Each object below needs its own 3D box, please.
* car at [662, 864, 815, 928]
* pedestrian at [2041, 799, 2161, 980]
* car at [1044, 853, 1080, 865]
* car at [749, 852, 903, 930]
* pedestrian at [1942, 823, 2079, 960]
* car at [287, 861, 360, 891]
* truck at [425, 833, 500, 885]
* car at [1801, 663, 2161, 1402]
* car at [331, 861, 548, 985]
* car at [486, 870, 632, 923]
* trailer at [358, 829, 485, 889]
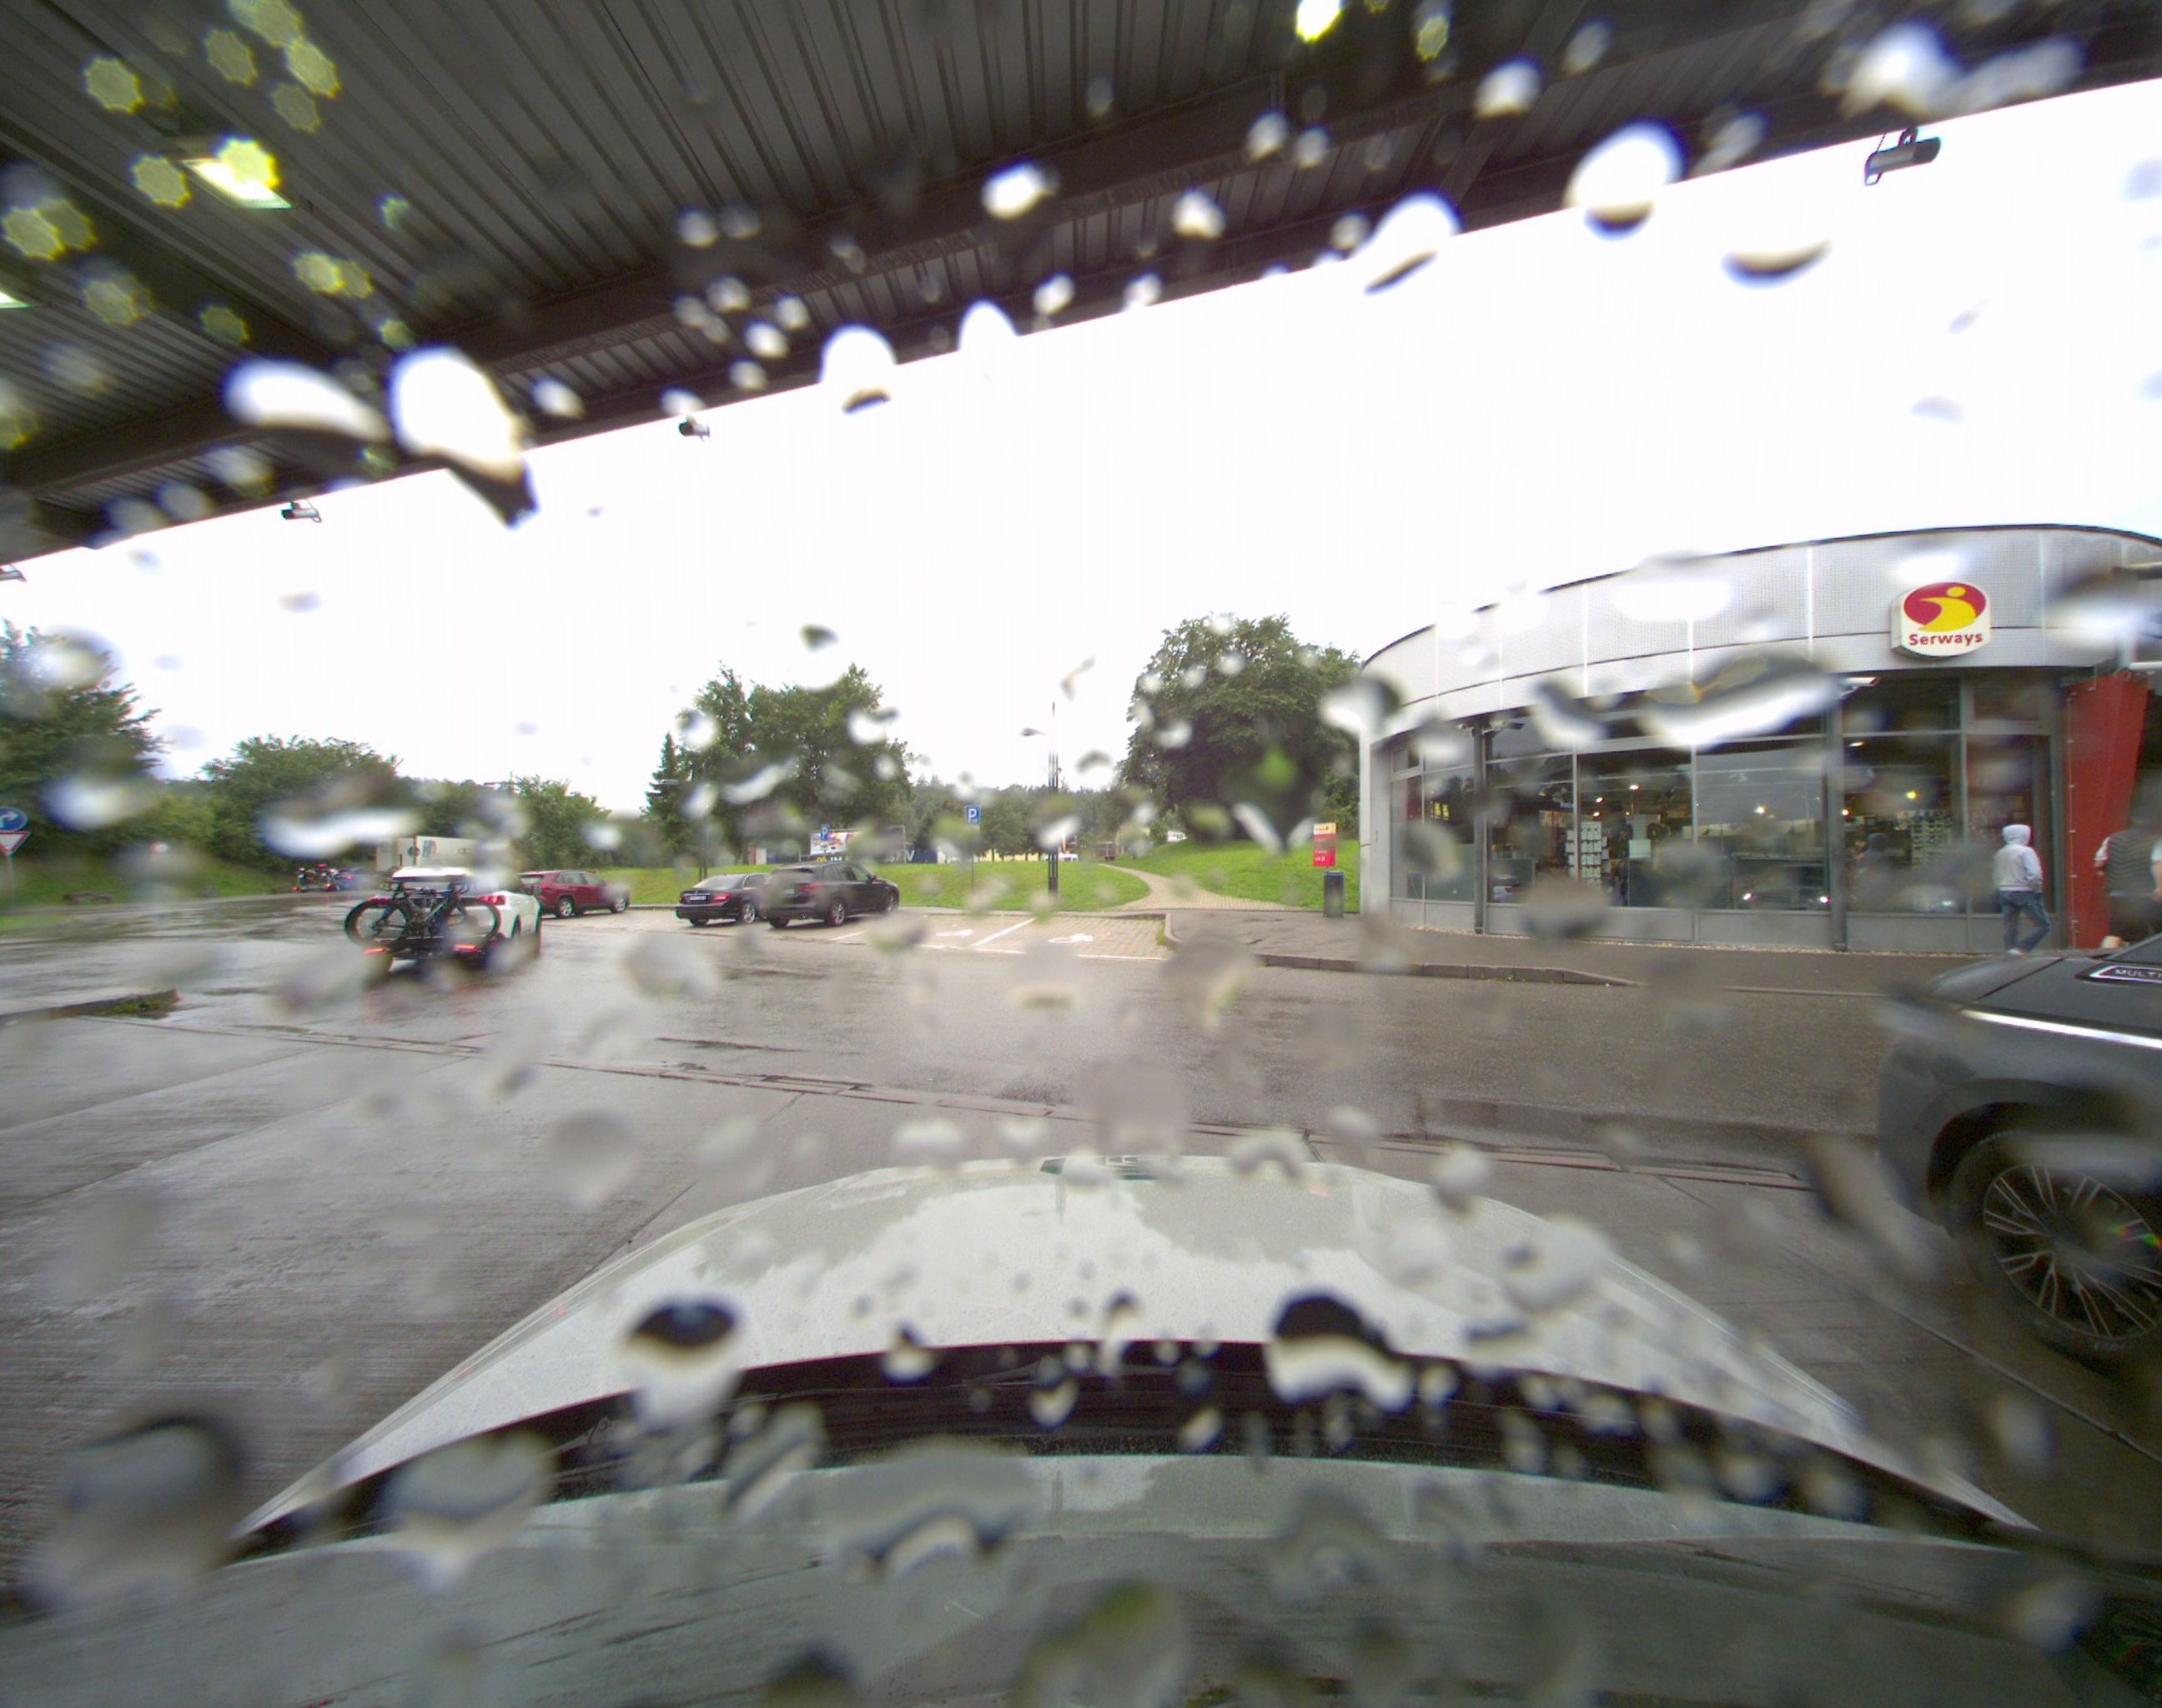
[{"bbox_3d":[-9.619,1.135,23.289,1.871,1.565,4.200,-2,0,13],"label":"car"},{"bbox_3d":[11.153,0.358,8.670,0.963,1.848,0.778,-2,0,30],"label":"pedestrian"},{"bbox_3d":[-3.183,0.805,134.069,5.376,2.013,2.468,-1,0,21],"label":"car"},{"bbox_3d":[-6.617,0.885,21.732,1.871,1.828,4.429,-2,0,13],"label":"car"},{"bbox_3d":[11.016,0.427,9.686,0.880,1.550,0.665,-2,0,31],"label":"pedestrian"},{"bbox_3d":[-49.216,1.387,53.050,1.934,1.838,4.361,-1,0,-20],"label":"car"},{"bbox_3d":[-57.111,0.498,75.412,3.467,4.557,6.694,0,-1,-18],"label":"truck"},{"bbox_3d":[3.715,0.464,1.221,1.809,1.948,4.002,-1,0,2],"label":"car"},{"bbox_3d":[-9.950,0.906,13.077,1.824,1.565,4.959,0,0,-27],"label":"car"},{"bbox_3d":[-18.147,1.414,28.606,1.873,1.596,4.364,-2,0,8],"label":"car"},{"bbox_3d":[-54.888,0.424,68.471,3.466,4.557,13.827,0,-1,-18],"label":"trailer"}]
